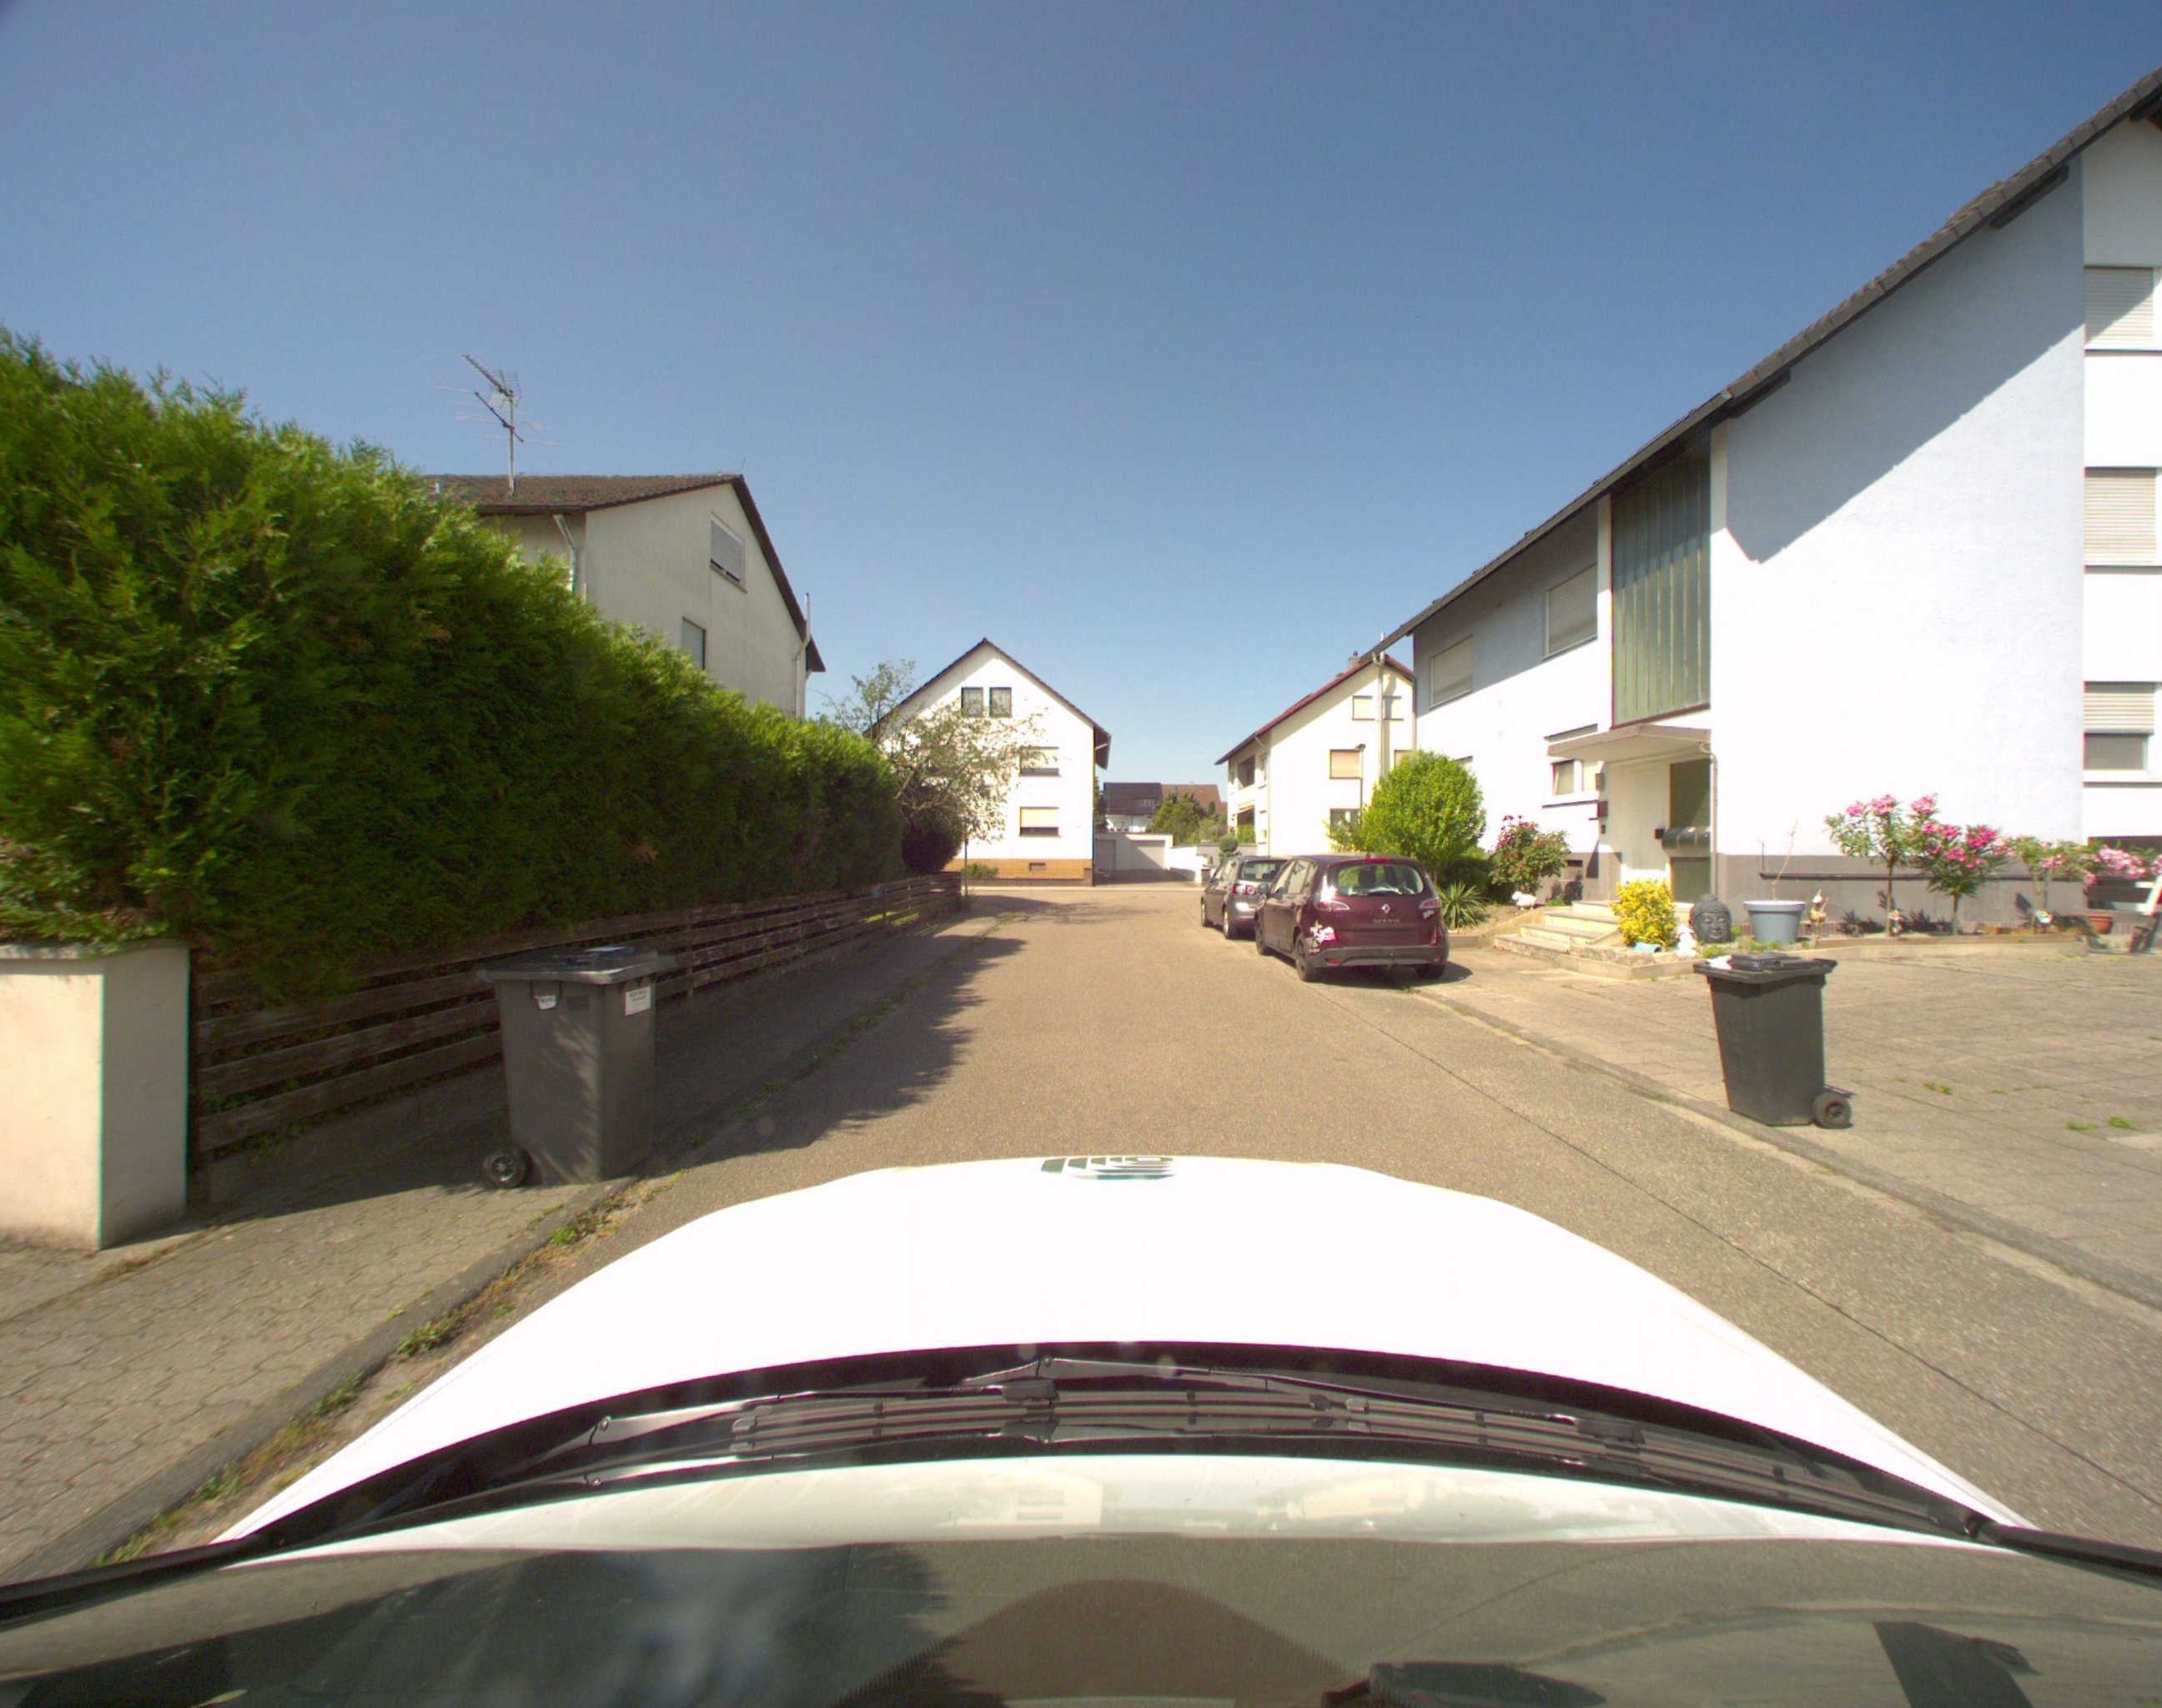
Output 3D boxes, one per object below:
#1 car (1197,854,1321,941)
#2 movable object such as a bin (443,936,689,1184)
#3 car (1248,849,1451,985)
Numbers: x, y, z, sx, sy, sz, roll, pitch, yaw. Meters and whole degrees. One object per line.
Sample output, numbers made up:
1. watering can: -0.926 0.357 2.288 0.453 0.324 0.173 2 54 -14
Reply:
1. car: 3.470 0.772 16.581 1.640 1.546 4.047 0 0 0
2. movable object such as a bin: -2.506 0.973 4.031 0.815 1.063 0.611 -1 0 1
3. car: 3.568 0.736 11.609 1.639 1.581 4.149 0 0 2
